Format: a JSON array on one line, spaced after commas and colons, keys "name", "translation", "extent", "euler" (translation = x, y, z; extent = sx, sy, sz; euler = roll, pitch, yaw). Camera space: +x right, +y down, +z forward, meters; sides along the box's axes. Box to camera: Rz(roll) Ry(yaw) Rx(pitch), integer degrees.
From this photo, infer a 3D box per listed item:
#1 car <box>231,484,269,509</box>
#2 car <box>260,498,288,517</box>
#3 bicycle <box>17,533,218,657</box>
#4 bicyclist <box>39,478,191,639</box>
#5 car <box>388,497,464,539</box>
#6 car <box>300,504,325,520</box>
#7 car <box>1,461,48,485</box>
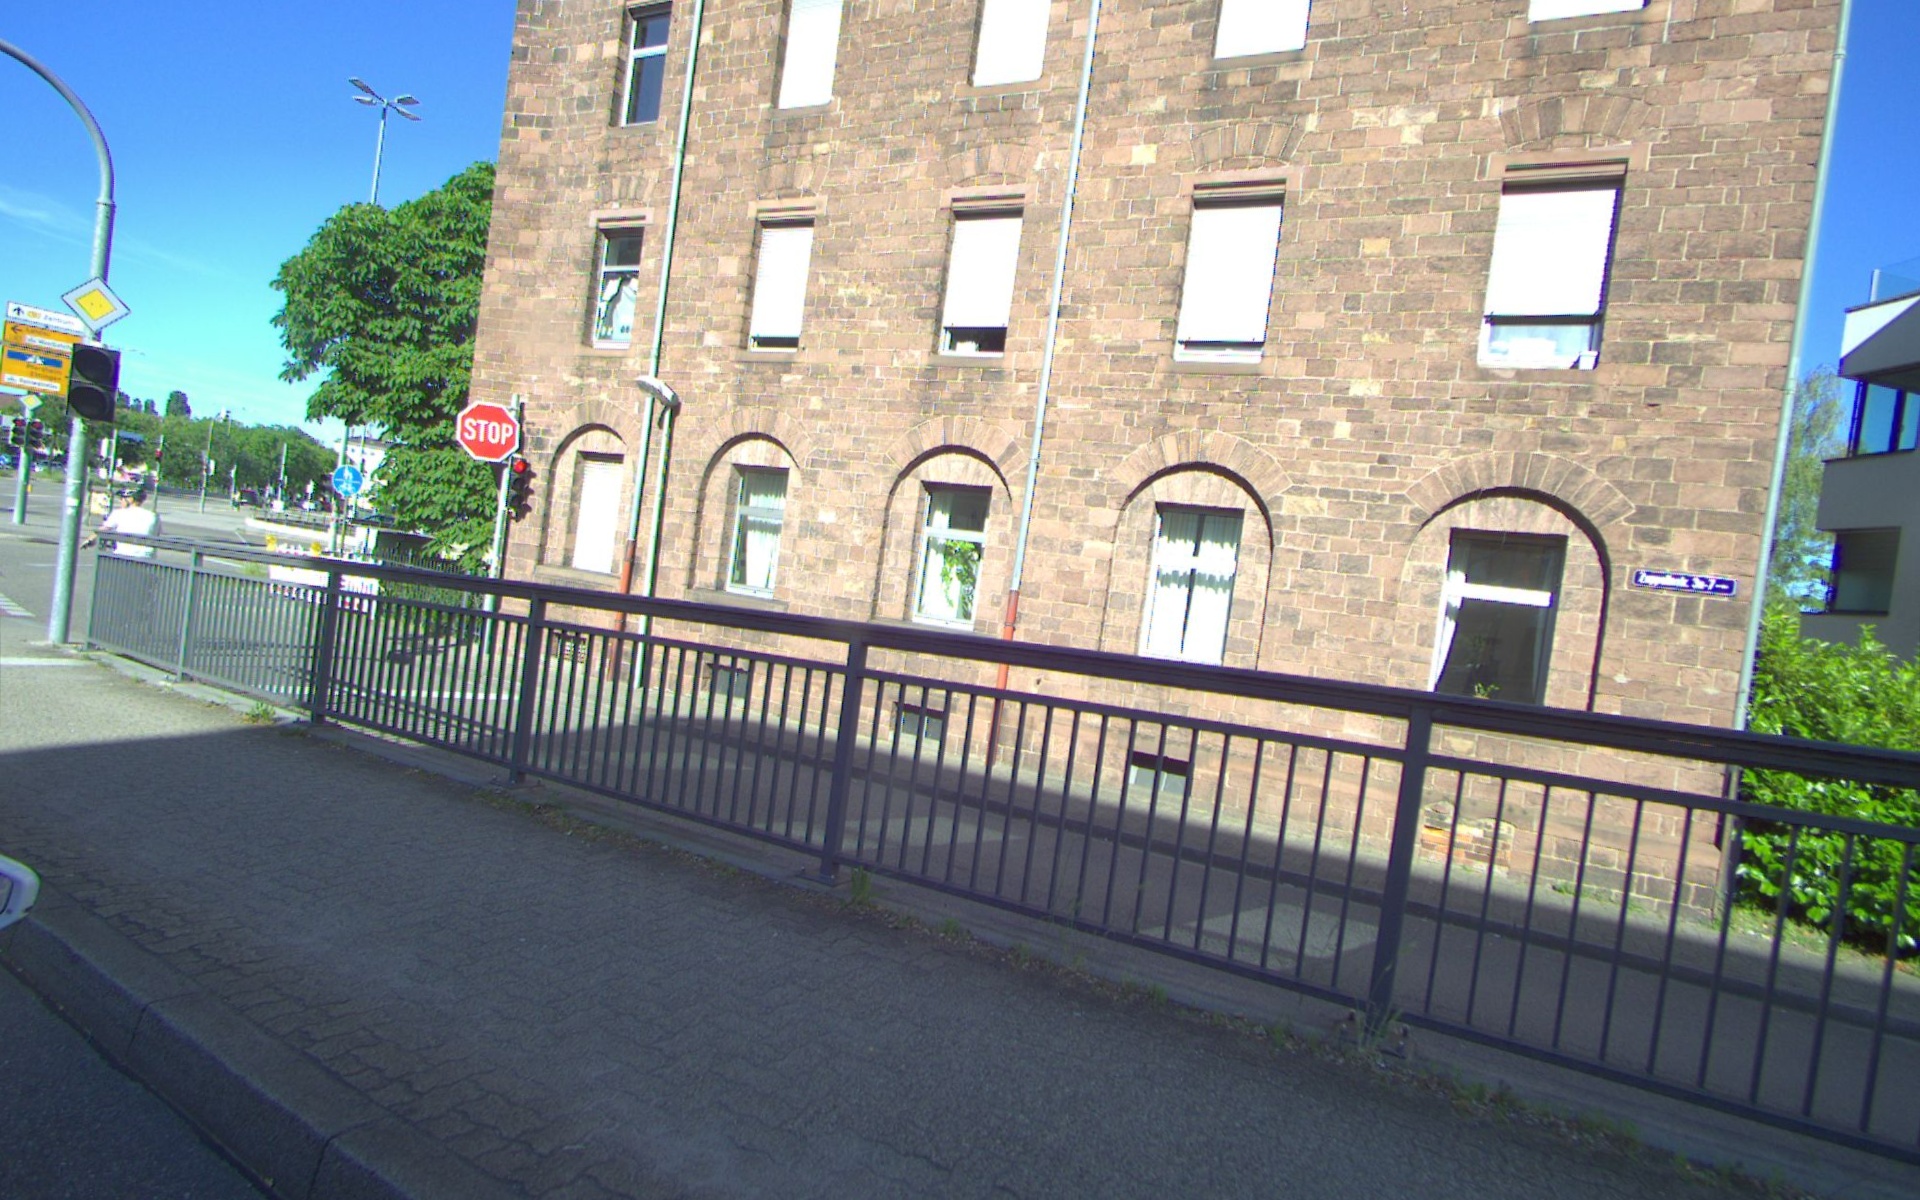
[{"name": "car", "translation": [-69.510, -10.080, 98.517], "extent": [1.973, 1.814, 3.982], "euler": [8, -2, -21]}, {"name": "car", "translation": [-78.833, -10.576, 115.640], "extent": [1.976, 1.816, 3.973], "euler": [7, 1, -26]}, {"name": "bicycle", "translation": [-10.139, -0.067, 12.089], "extent": [2.358, 1.124, 0.802], "euler": [9, 0, 24]}, {"name": "bicyclist", "translation": [-10.211, -0.487, 12.172], "extent": [1.065, 1.724, 0.802], "euler": [9, -1, 23]}, {"name": "car", "translation": [-43.761, -6.704, 82.544], "extent": [4.796, 2.637, 2.262], "euler": [7, -1, -1]}, {"name": "car", "translation": [-86.084, -11.681, 133.769], "extent": [1.974, 1.660, 3.977], "euler": [7, 1, -23]}, {"name": "car", "translation": [-78.483, -10.647, 84.439], "extent": [1.979, 1.470, 3.968], "euler": [8, 0, -31]}]
